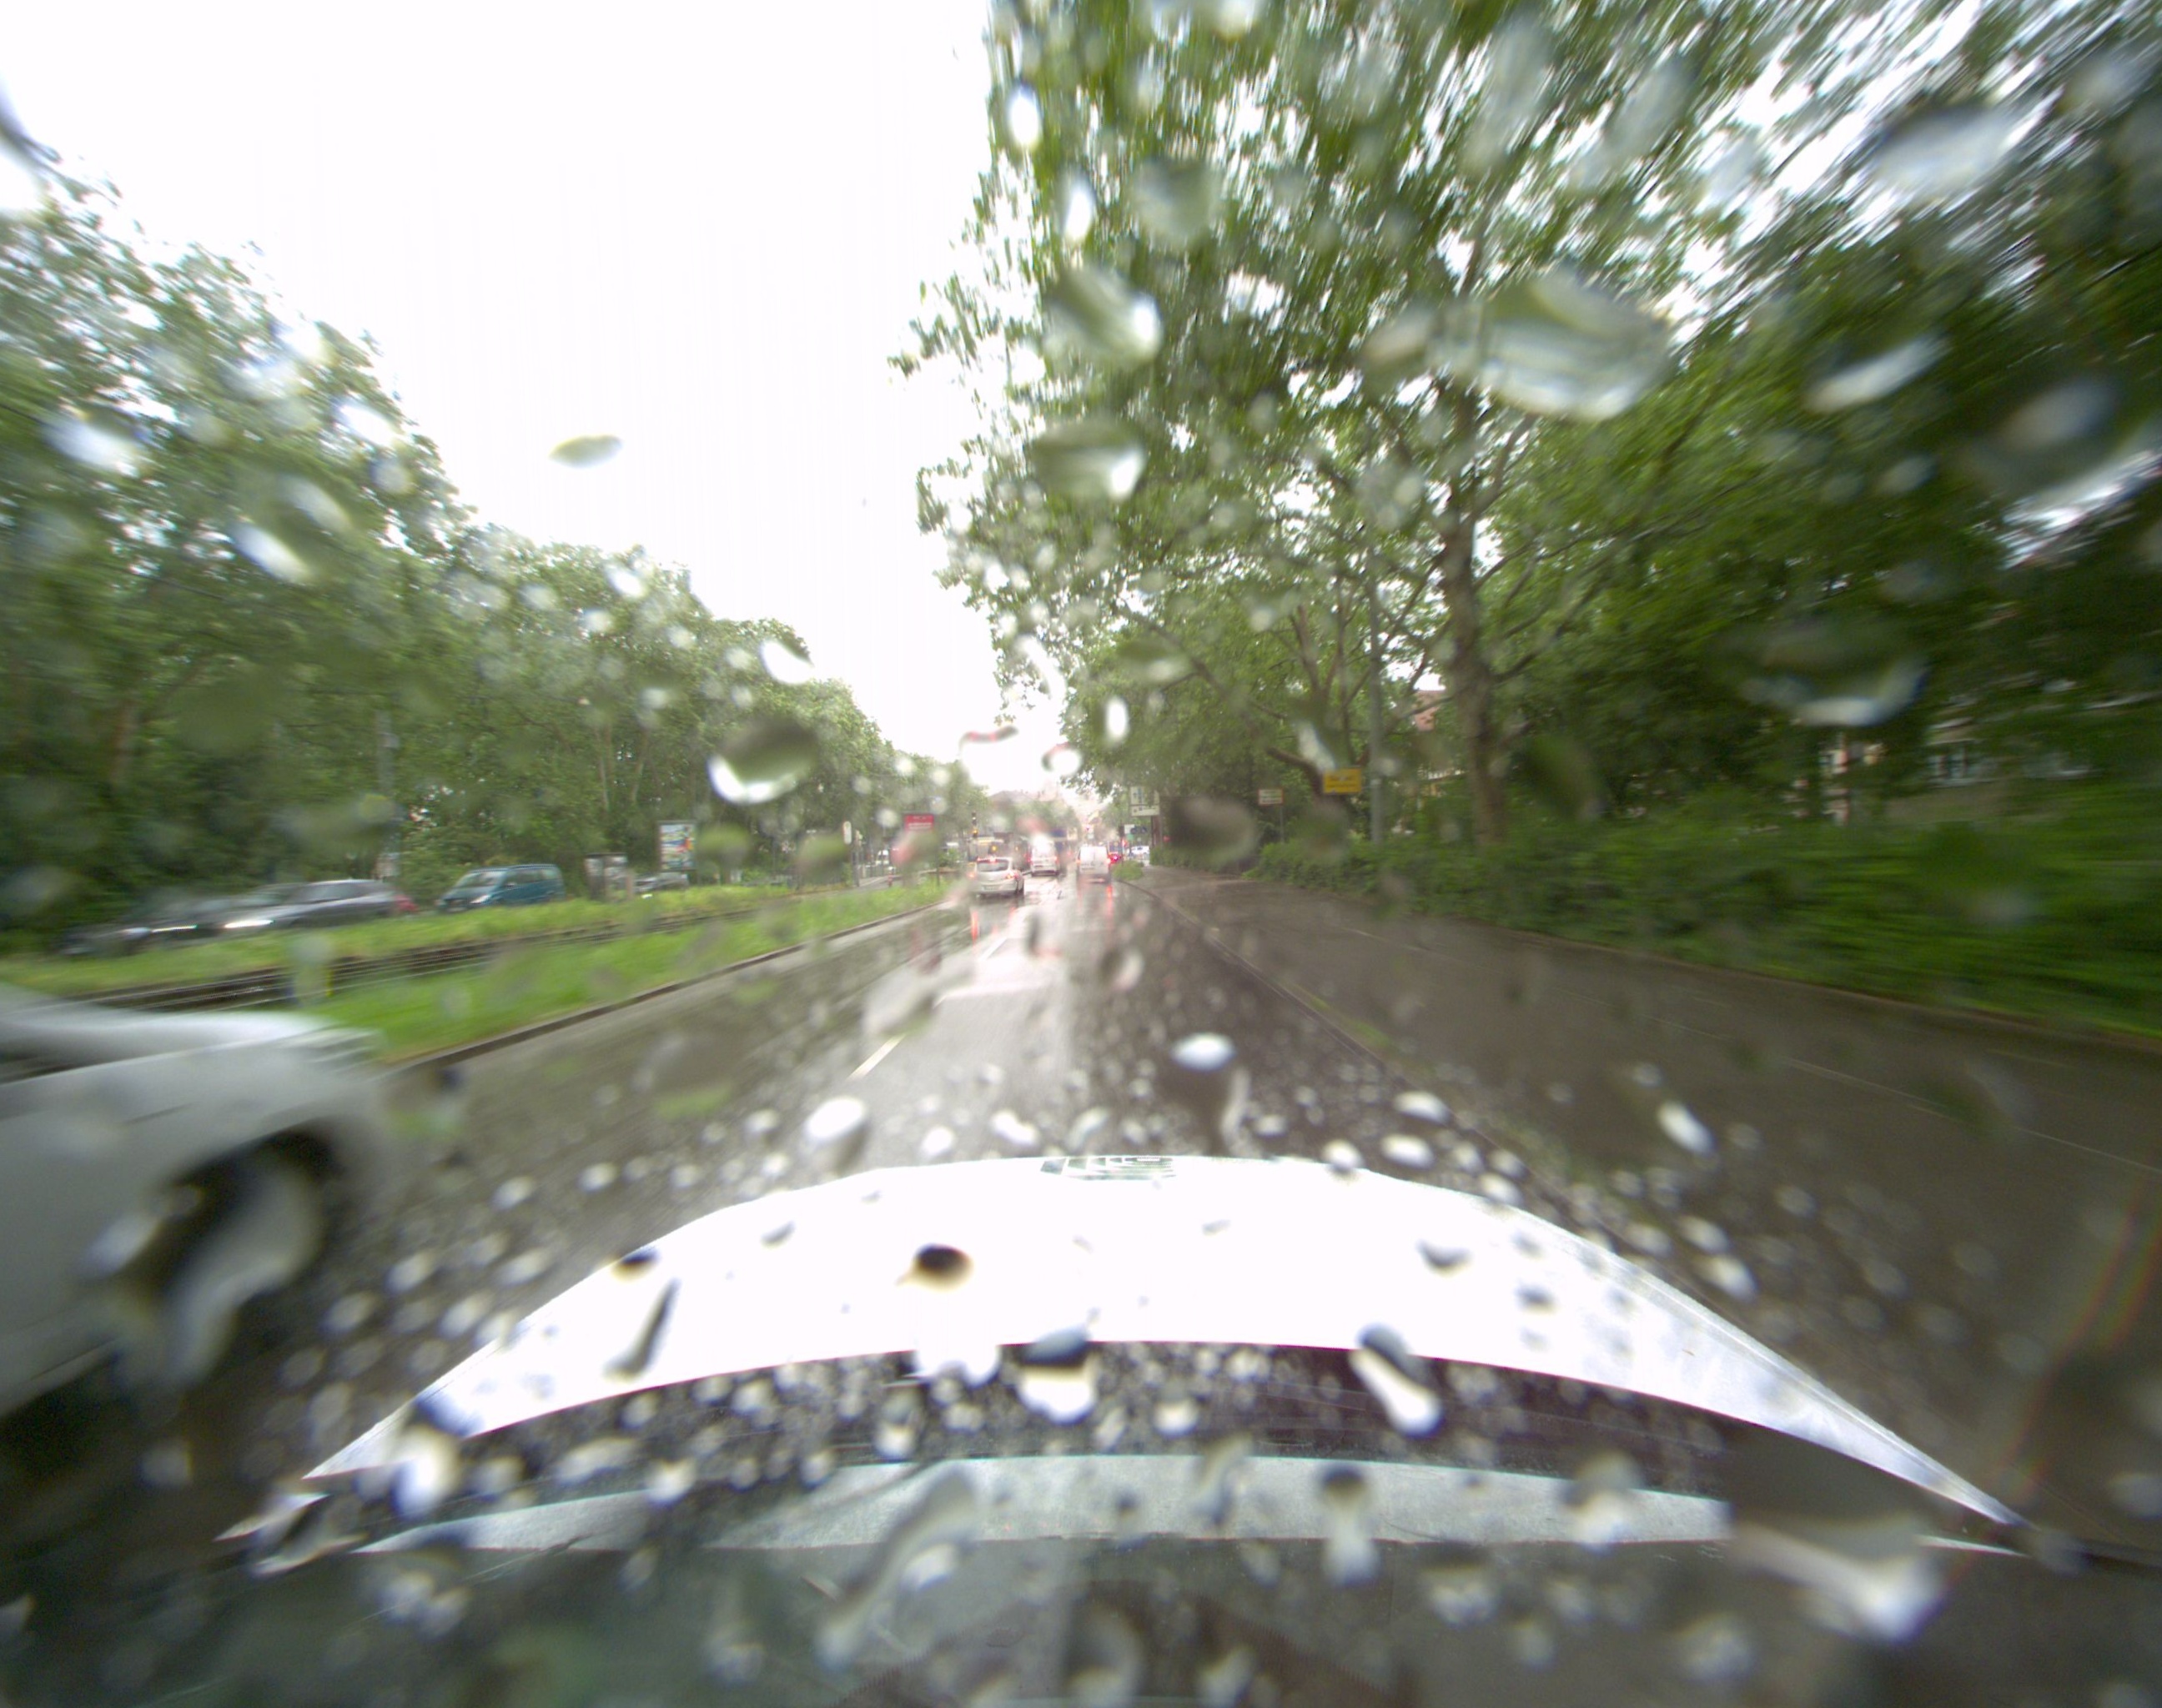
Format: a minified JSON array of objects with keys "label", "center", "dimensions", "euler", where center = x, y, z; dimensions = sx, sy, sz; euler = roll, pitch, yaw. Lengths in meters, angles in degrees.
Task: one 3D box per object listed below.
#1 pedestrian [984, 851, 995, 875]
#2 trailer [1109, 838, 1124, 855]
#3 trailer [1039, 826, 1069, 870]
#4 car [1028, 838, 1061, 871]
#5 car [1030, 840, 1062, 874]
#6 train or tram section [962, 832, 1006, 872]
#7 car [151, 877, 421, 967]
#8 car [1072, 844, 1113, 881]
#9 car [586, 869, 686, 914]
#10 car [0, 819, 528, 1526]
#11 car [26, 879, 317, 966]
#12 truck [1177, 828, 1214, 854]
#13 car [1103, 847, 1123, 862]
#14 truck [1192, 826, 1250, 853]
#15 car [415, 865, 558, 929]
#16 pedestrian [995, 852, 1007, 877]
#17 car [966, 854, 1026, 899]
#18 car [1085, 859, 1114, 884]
[{"label":"pedestrian","center":[-6.668,0.658,59.374],"dimensions":[0.713,1.744,0.750],"euler":[-2,0,-1]},{"label":"trailer","center":[5.076,-1.032,115.839],"dimensions":[1.987,2.317,4.668],"euler":[-1,-1,1]},{"label":"trailer","center":[-2.500,-0.587,76.816],"dimensions":[2.583,3.899,7.633],"euler":[-1,0,-1]},{"label":"car","center":[-2.962,0.096,67.652],"dimensions":[2.322,2.557,6.114],"euler":[-1,-1,0]},{"label":"car","center":[-2.523,0.246,59.179],"dimensions":[1.987,2.262,5.288],"euler":[-1,-1,0]},{"label":"train or tram section","center":[-8.842,-0.255,75.408],"dimensions":[2.952,3.285,8.358],"euler":[-3,1,-1]},{"label":"car","center":[-18.315,1.474,19.139],"dimensions":[2.008,1.657,4.392],"euler":[-3,0,-2]},{"label":"car","center":[0.568,0.438,41.607],"dimensions":[1.953,1.777,3.569],"euler":[-1,-1,0]},{"label":"car","center":[-19.129,1.545,35.247],"dimensions":[2.027,1.657,4.273],"euler":[-3,0,-3]},{"label":"car","center":[-3.445,0.747,1.438],"dimensions":[1.857,1.623,4.265],"euler":[-1,0,3]},{"label":"car","center":[-22.147,1.576,20.211],"dimensions":[2.026,1.657,4.606],"euler":[-3,0,-2]},{"label":"truck","center":[23.415,-2.715,166.122],"dimensions":[7.118,4.899,3.296],"euler":[-3,1,7]},{"label":"car","center":[3.560,0.076,90.789],"dimensions":[1.984,1.542,4.005],"euler":[-2,0,4]},{"label":"truck","center":[28.385,-2.955,165.497],"dimensions":[11.301,4.899,3.296],"euler":[-3,1,7]},{"label":"car","center":[-22.413,1.551,30.996],"dimensions":[2.027,2.093,4.797],"euler":[-3,0,-4]},{"label":"pedestrian","center":[-5.578,0.741,56.677],"dimensions":[0.788,1.714,0.770],"euler":[0,-1,-1]},{"label":"car","center":[-3.020,0.792,29.575],"dimensions":[1.720,1.479,3.805],"euler":[-1,-1,0]},{"label":"car","center":[1.337,1.214,57.107],"dimensions":[1.901,1.618,4.001],"euler":[-1,-1,2]}]
